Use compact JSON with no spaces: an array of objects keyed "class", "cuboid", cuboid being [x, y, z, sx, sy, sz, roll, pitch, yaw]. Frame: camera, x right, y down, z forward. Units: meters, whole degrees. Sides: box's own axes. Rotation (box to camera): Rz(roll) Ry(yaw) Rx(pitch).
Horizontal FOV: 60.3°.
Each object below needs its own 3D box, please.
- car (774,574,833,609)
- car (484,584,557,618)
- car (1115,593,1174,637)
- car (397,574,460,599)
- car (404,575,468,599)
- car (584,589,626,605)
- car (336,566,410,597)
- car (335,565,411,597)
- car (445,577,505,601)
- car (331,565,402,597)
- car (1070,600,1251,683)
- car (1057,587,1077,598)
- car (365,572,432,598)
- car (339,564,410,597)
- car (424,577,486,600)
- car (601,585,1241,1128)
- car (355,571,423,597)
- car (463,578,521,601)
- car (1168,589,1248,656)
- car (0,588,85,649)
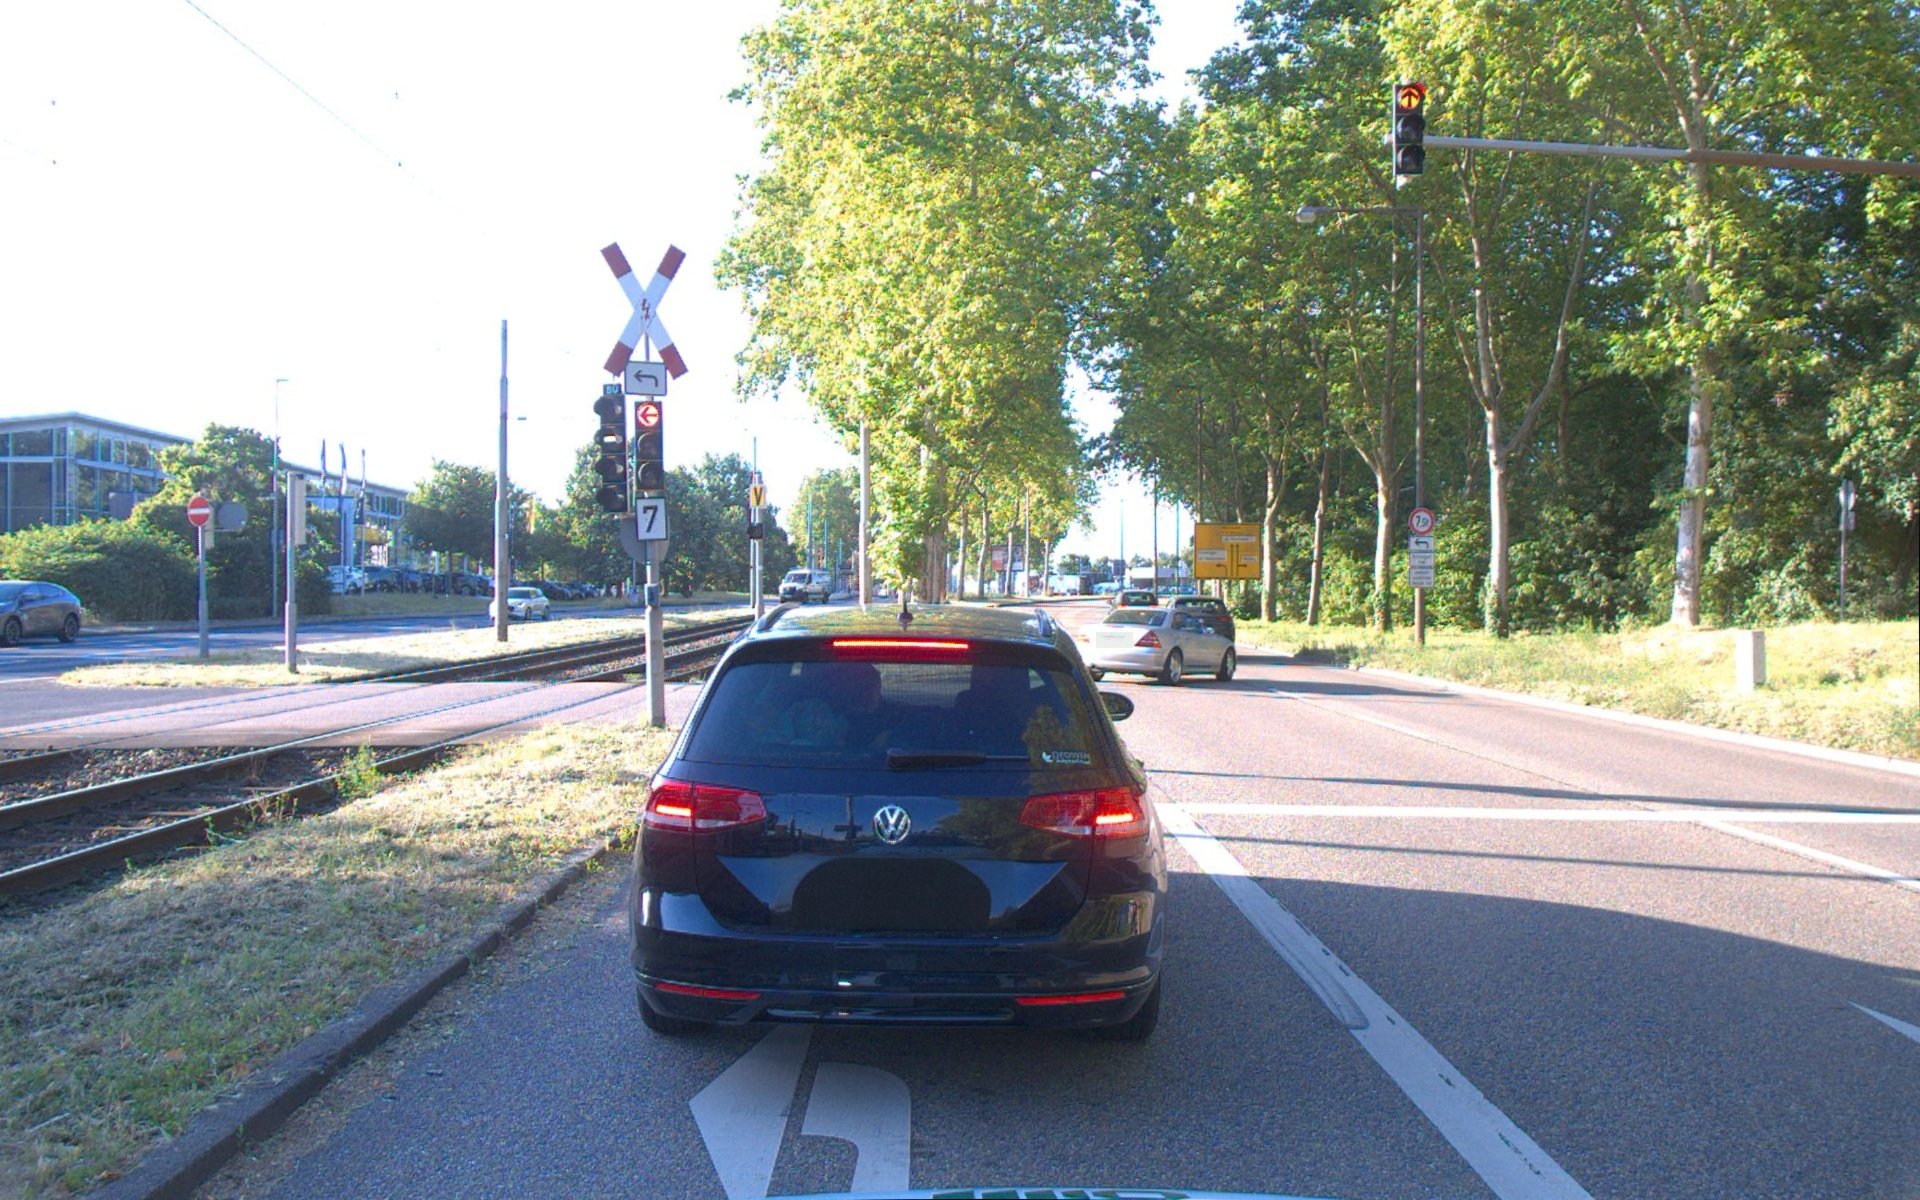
[{"class":"car","cuboid":[-11.612,-0.636,123.360,2.052,2.504,5.853,1,1,20]},{"class":"car","cuboid":[-20.444,0.028,77.121,1.822,1.507,4.095,1,1,8]},{"class":"car","cuboid":[7.160,0.564,64.500,1.834,1.663,4.370,0,0,0]},{"class":"car","cuboid":[-35.706,-0.885,111.111,3.930,1.583,1.732,1,0,-22]},{"class":"car","cuboid":[-36.037,-0.864,113.805,3.913,1.583,1.740,1,0,-9]},{"class":"car","cuboid":[-35.961,-0.338,167.440,3.909,1.583,1.742,1,0,-5]},{"class":"car","cuboid":[-33.692,-1.053,94.959,3.930,1.734,1.732,1,0,-22]},{"class":"car","cuboid":[-32.909,-1.044,92.720,3.930,1.734,1.732,1,0,-22]},{"class":"car","cuboid":[-35.569,-0.808,121.260,3.909,1.649,1.742,1,0,-6]},{"class":"car","cuboid":[-35.547,-1.149,99.022,3.930,1.848,1.732,1,0,-22]},{"class":"car","cuboid":[3.580,0.693,29.017,1.580,1.317,3.972,1,0,33]},{"class":"car","cuboid":[14.848,-1.073,229.231,1.956,1.445,3.993,1,0,-8]},{"class":"car","cuboid":[-35.541,-0.951,104.716,3.930,1.583,1.732,1,0,-22]},{"class":"car","cuboid":[-34.440,-1.117,97.285,3.930,1.848,1.732,1,0,-22]},{"class":"car","cuboid":[-35.777,-0.825,117.329,3.911,1.583,1.741,1,0,-7]},{"class":"car","cuboid":[-0.140,0.713,6.395,1.758,1.490,3.582,1,0,-1]},{"class":"car","cuboid":[-35.200,-0.977,101.937,3.930,1.583,1.732,1,0,-22]},{"class":"car","cuboid":[-35.238,-0.767,124.476,3.909,1.649,1.742,1,0,-6]},{"class":"car","cuboid":[6.195,0.536,41.646,1.671,1.588,4.168,1,0,4]},{"class":"car","cuboid":[-25.284,0.451,43.908,1.823,1.507,4.172,1,1,1]}]
